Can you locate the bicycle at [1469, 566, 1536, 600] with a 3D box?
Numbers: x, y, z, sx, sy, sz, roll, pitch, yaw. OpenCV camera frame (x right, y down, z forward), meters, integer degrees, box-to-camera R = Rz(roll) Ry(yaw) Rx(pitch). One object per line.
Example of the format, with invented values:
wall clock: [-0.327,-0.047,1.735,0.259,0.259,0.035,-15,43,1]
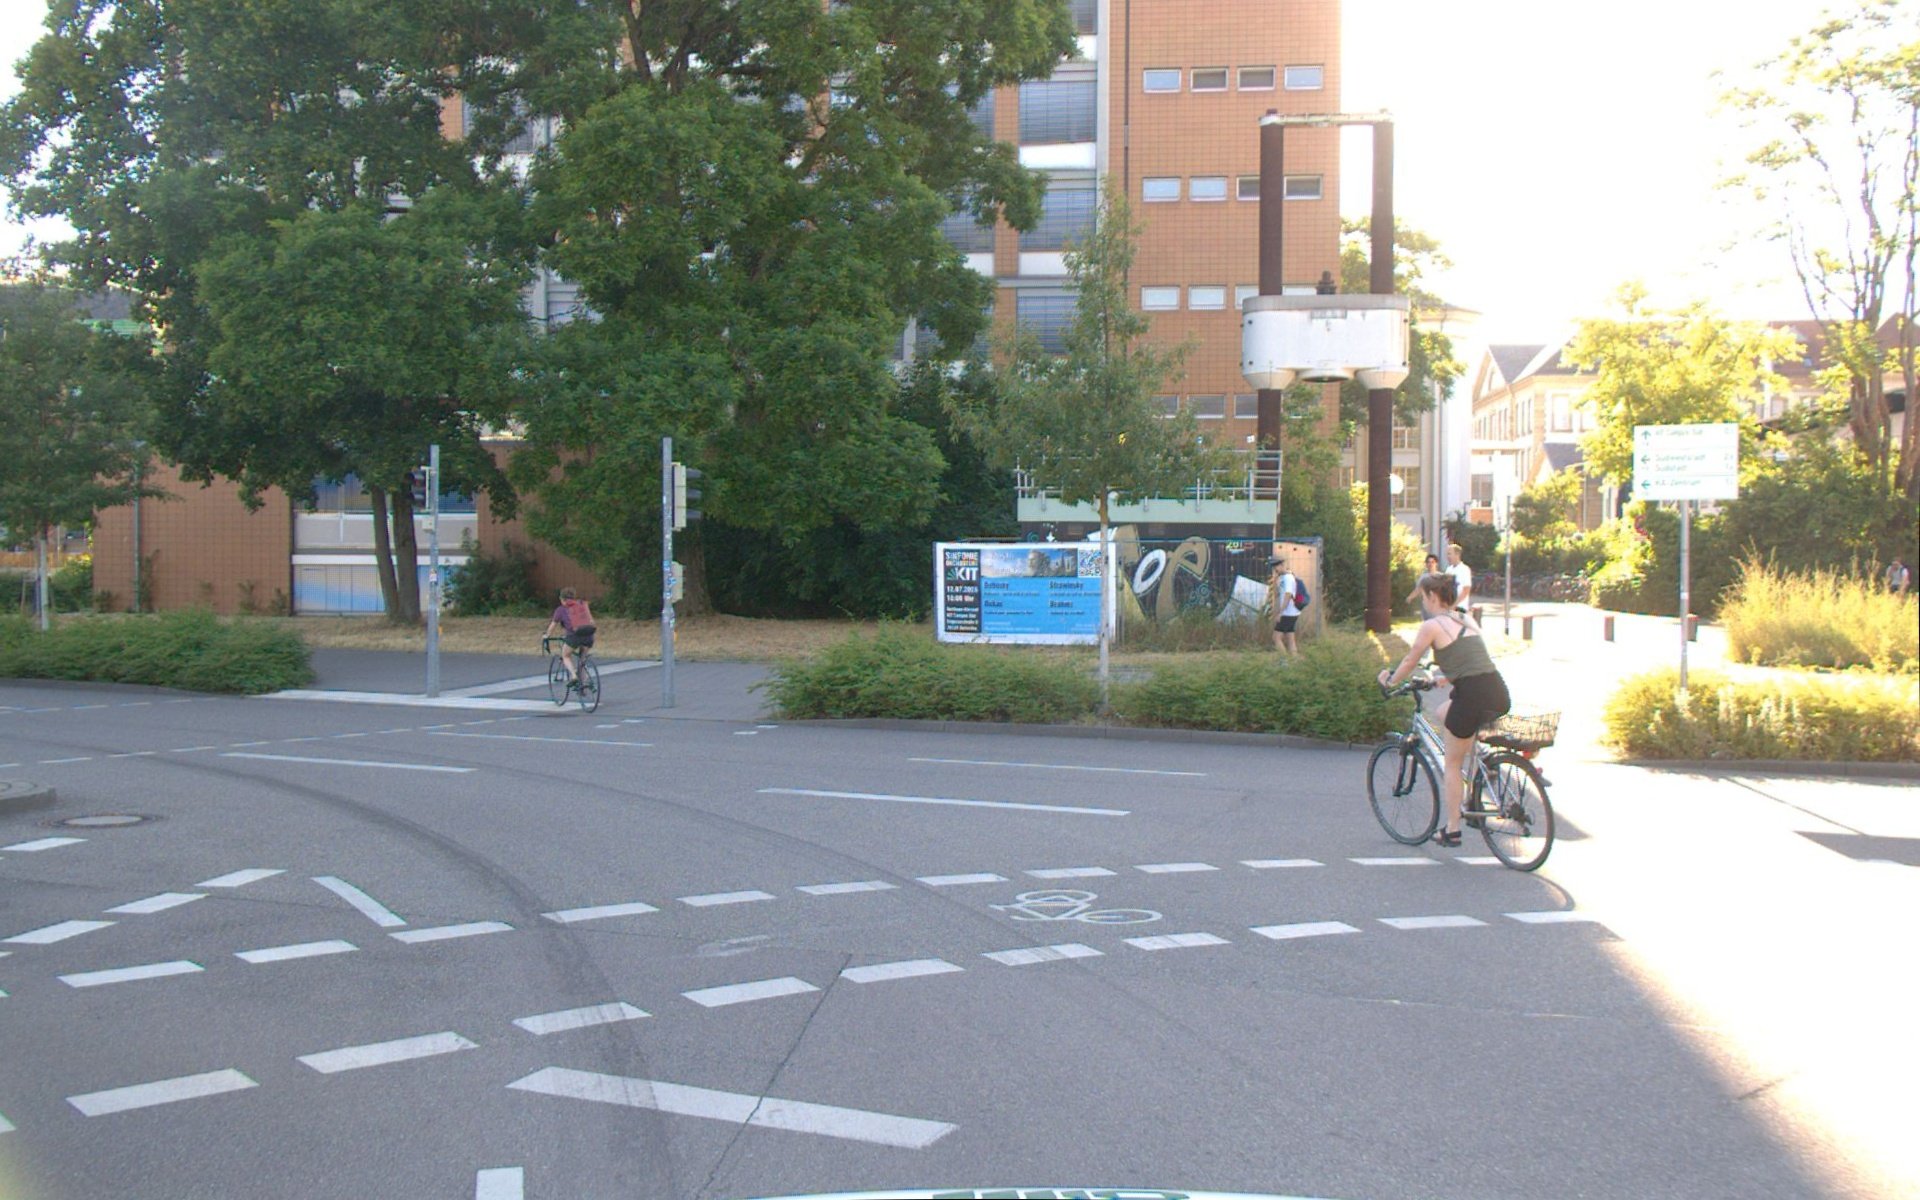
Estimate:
bicycle: [24.945,-0.786,76.039,2.811,1.405,0.683,2,1,11]

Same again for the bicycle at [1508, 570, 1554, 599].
bicycle: [24.026,-0.664,69.636,1.756,1.127,0.500,2,1,11]

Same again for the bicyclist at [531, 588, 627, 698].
bicyclist: [-5.022,0.556,21.812,1.054,1.409,0.719,-1,-1,35]

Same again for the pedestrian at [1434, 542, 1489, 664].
pedestrian: [7.938,0.044,26.189,0.568,1.902,0.617,-1,1,-28]

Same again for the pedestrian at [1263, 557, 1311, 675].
pedestrian: [4.877,0.219,24.630,0.615,1.729,0.623,0,1,19]

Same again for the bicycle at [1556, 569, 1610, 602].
bicycle: [22.851,-0.536,60.707,1.756,1.127,0.500,2,1,11]

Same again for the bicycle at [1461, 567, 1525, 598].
bicycle: [25.530,-0.844,79.299,2.811,1.405,0.683,2,1,11]

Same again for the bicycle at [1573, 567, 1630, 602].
bicycle: [22.155,-0.541,57.147,1.756,1.127,0.500,2,1,11]

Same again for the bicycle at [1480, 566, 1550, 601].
bicycle: [24.530,-0.731,73.157,2.811,1.405,0.683,2,1,11]

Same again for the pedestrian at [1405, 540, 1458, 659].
pedestrian: [7.648,-0.013,26.826,0.568,1.902,0.617,-1,1,-28]

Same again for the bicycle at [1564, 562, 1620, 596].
bicycle: [22.553,-0.758,59.041,1.756,1.127,0.500,2,1,11]

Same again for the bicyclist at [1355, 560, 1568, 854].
bicyclist: [3.080,0.609,10.244,0.766,1.706,1.087,0,1,-19]

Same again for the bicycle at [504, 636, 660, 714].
bicycle: [-4.991,0.963,21.785,2.203,0.969,0.719,-1,-1,35]

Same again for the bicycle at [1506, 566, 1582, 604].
bicycle: [23.866,-0.620,67.619,2.811,1.405,0.683,2,1,11]

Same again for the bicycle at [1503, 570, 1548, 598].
bicycle: [24.407,-0.692,71.364,1.756,1.127,0.500,2,1,11]

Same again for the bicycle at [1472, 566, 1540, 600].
bicycle: [24.814,-0.770,75.179,2.811,1.405,0.683,2,1,11]

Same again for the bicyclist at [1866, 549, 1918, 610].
bicyclist: [22.777,-0.501,40.421,0.895,1.459,0.623,2,1,9]

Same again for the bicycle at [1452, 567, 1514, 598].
bicycle: [25.724,-0.887,81.358,2.811,1.405,0.683,2,1,11]

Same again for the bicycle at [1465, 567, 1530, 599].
bicycle: [25.249,-0.816,77.725,2.811,1.405,0.683,2,1,11]

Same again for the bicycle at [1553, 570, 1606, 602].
bicycle: [23.036,-0.523,61.495,1.756,1.127,0.500,2,1,11]

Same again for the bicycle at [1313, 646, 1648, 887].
bicycle: [3.106,0.938,10.179,0.766,1.176,2.279,0,2,-19]

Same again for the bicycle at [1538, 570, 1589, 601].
bicycle: [23.510,-0.555,64.422,1.756,1.127,0.500,2,1,11]
